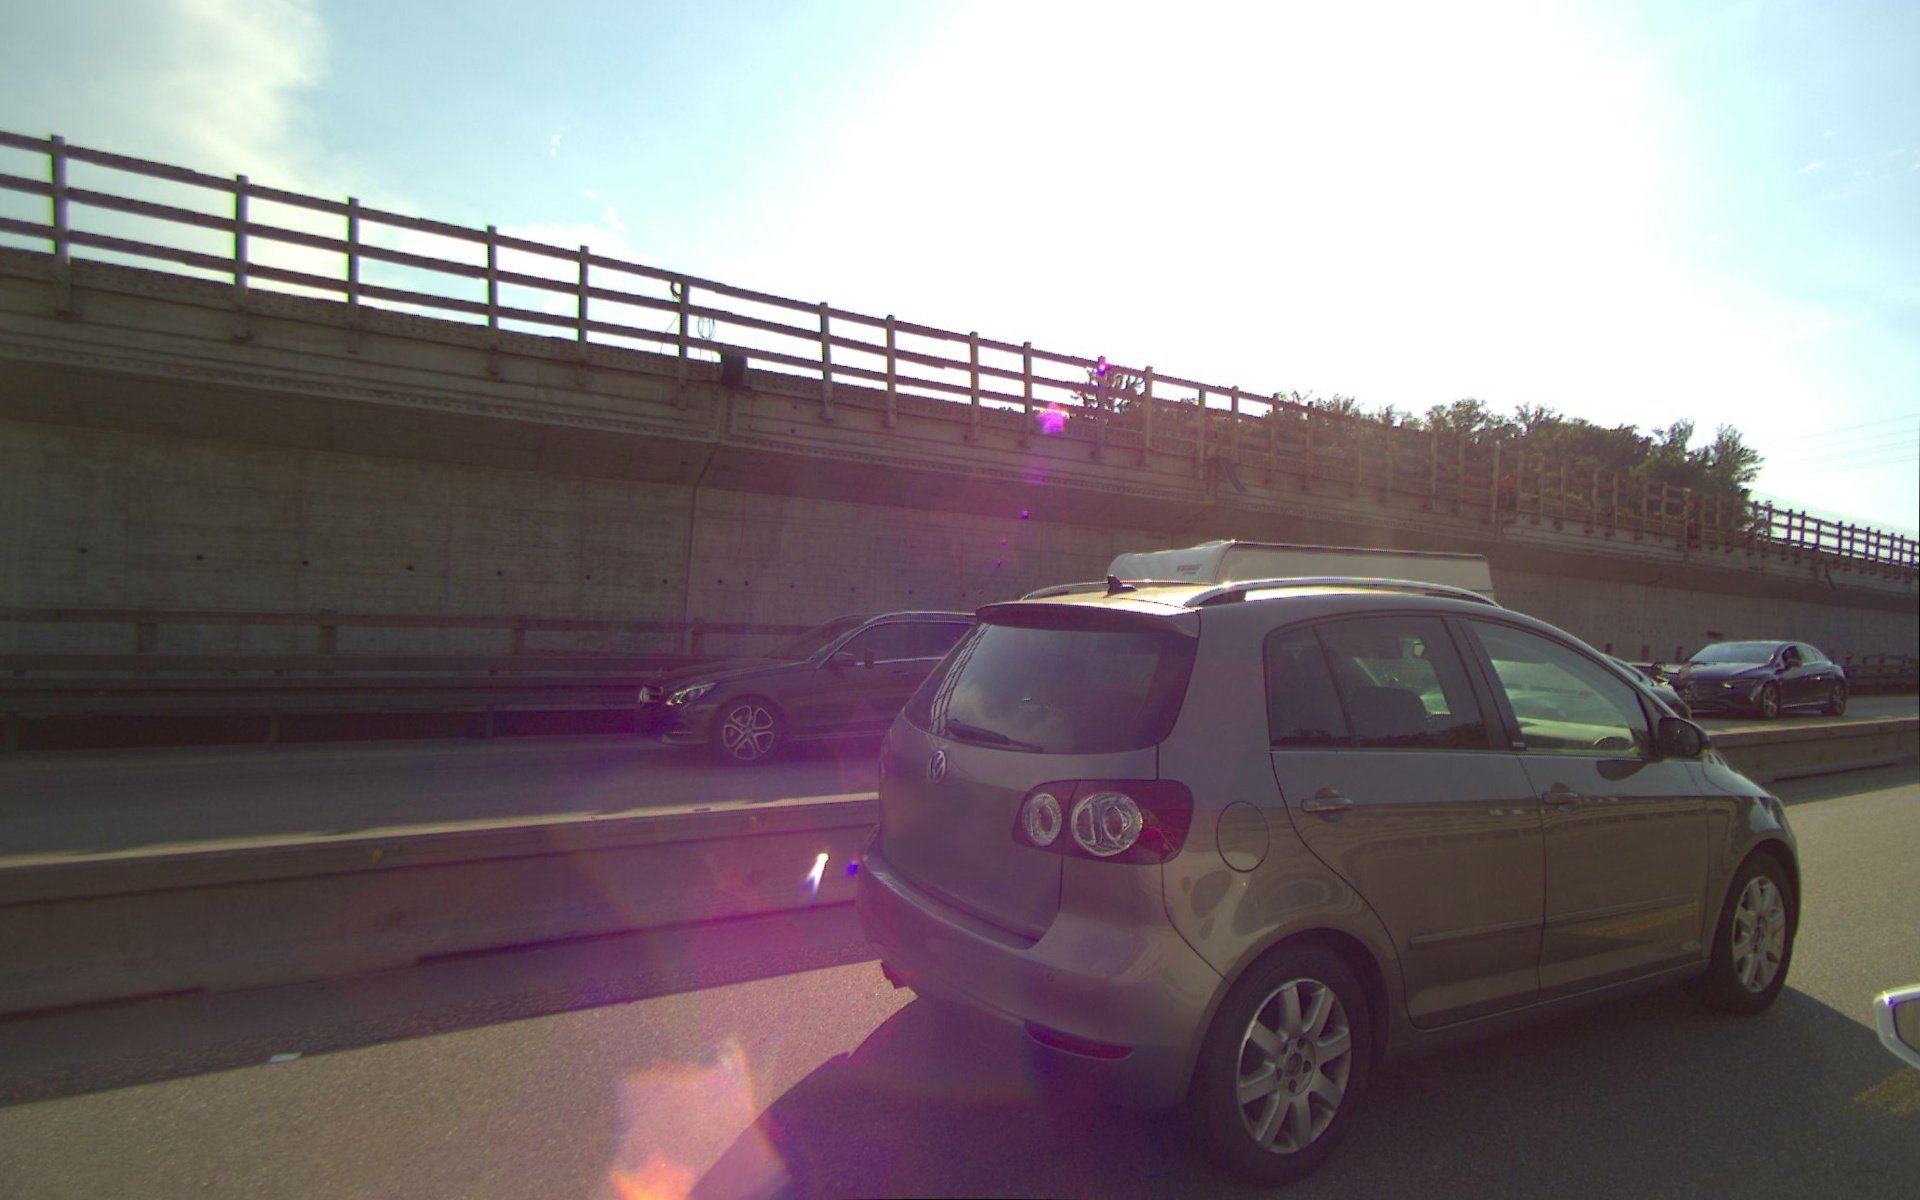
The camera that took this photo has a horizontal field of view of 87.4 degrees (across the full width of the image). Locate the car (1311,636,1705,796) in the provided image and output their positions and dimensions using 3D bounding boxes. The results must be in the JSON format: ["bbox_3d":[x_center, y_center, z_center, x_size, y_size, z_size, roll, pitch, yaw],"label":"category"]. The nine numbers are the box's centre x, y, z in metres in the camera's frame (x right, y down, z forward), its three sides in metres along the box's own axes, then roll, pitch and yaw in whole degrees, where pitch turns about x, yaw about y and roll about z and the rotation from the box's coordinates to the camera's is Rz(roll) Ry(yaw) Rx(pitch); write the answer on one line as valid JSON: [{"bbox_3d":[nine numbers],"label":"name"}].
[{"bbox_3d":[5.851,1.111,10.606,4.191,1.342,1.772,2,-1,-31],"label":"car"}]

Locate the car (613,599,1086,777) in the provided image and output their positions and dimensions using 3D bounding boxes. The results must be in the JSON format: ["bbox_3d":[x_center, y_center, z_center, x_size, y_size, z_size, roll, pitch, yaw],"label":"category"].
[{"bbox_3d":[-1.059,0.861,10.655,4.727,1.551,1.633,2,-2,-30],"label":"car"}]

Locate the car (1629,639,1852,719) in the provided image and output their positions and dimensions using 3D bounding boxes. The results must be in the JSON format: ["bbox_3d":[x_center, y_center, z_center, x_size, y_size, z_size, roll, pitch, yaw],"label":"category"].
[{"bbox_3d":[15.758,1.546,20.226,4.844,1.439,1.962,2,-3,-31],"label":"car"}]

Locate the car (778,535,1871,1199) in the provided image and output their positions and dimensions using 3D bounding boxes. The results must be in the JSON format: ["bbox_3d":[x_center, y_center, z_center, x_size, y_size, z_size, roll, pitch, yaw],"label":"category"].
[{"bbox_3d":[1.592,0.726,3.902,4.221,1.609,1.673,1,-2,-30],"label":"car"}]

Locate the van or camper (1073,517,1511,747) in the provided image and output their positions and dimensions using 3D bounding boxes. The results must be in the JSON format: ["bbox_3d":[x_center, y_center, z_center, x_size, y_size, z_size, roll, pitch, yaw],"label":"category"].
[{"bbox_3d":[4.885,0.497,14.375,6.378,2.698,2.301,2,-2,-30],"label":"van or camper"}]
